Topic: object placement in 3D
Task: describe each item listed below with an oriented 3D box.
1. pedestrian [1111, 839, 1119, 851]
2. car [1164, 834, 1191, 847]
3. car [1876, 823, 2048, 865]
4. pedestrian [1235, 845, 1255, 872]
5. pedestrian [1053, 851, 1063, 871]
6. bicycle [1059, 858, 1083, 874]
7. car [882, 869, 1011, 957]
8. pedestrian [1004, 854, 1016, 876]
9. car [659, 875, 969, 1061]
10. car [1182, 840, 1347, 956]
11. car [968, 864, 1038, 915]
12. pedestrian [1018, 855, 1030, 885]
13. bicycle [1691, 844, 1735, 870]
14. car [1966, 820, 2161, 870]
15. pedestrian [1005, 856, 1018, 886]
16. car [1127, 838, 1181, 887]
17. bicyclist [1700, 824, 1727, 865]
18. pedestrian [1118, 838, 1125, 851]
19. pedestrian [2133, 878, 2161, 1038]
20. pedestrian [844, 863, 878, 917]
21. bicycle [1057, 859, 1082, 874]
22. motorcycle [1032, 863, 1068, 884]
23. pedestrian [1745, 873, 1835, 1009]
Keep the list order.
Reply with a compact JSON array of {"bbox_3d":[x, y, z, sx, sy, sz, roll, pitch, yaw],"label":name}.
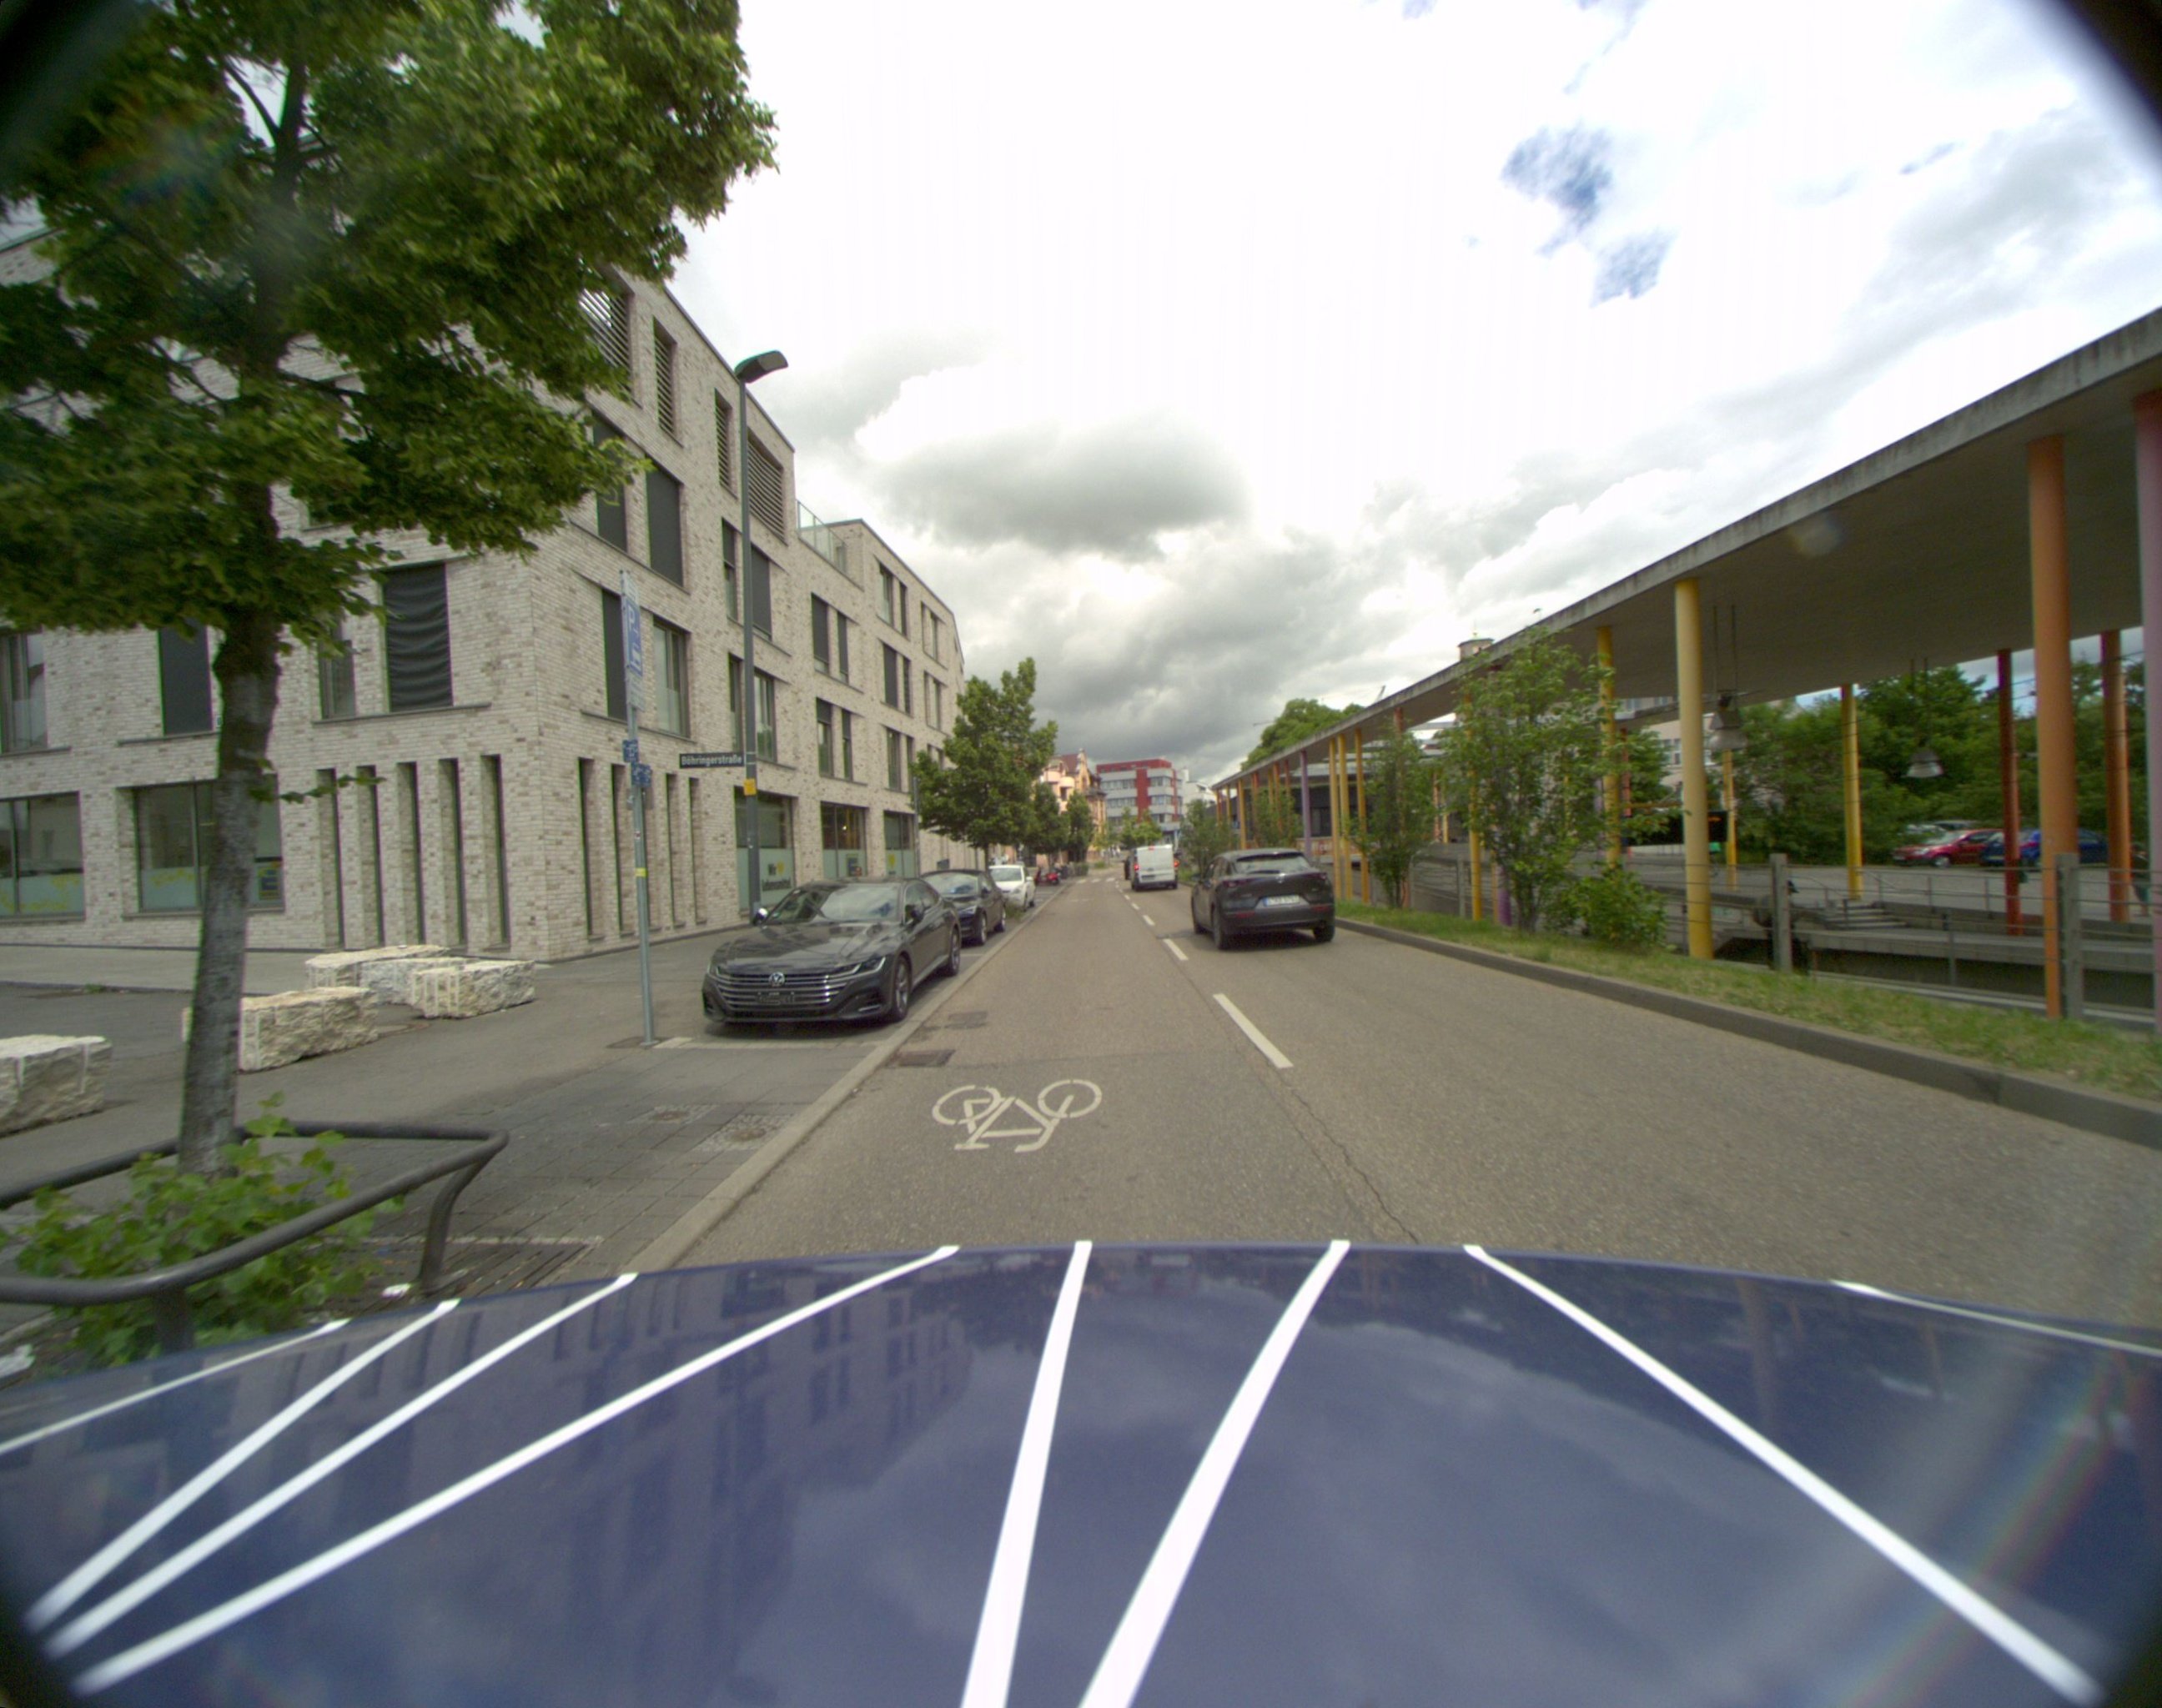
[{"bbox_3d":[4.670,-1.269,104.116,0.738,1.630,0.676,-2,3,40],"label":"pedestrian"},{"bbox_3d":[14.893,-2.057,117.327,4.006,1.653,1.839,-5,3,-37],"label":"car"},{"bbox_3d":[33.591,-0.384,29.097,3.992,1.330,1.727,-3,2,16],"label":"car"},{"bbox_3d":[9.850,0.275,45.607,0.929,1.556,0.815,-4,2,0],"label":"pedestrian"},{"bbox_3d":[-2.100,0.645,68.403,0.659,1.731,1.018,-2,1,7],"label":"pedestrian"},{"bbox_3d":[-0.800,0.956,61.125,1.826,1.194,0.756,-1,2,8],"label":"bicycle"},{"bbox_3d":[-2.576,1.092,15.561,1.696,1.452,4.147,-1,0,3],"label":"car"},{"bbox_3d":[-5.618,0.892,60.253,0.658,1.683,0.633,-1,2,42],"label":"pedestrian"},{"bbox_3d":[-2.660,1.057,8.918,1.869,1.442,4.643,-1,0,2],"label":"car"},{"bbox_3d":[2.901,0.620,12.971,1.729,1.512,4.254,-5,0,1],"label":"car"},{"bbox_3d":[-2.473,1.110,25.013,1.696,1.475,3.798,-1,0,3],"label":"car"},{"bbox_3d":[-3.380,0.949,45.122,0.623,1.756,0.737,-2,2,-2],"label":"pedestrian"},{"bbox_3d":[25.318,0.096,30.456,0.485,0.957,1.612,-4,2,4],"label":"bicycle"},{"bbox_3d":[33.671,-0.315,26.142,3.992,1.393,1.571,-3,2,16],"label":"car"},{"bbox_3d":[-4.177,1.008,45.714,0.757,1.756,0.734,-2,2,-4],"label":"pedestrian"},{"bbox_3d":[3.227,0.338,34.459,2.009,1.906,5.065,-4,0,2],"label":"car"},{"bbox_3d":[25.278,-0.372,30.388,0.485,1.584,0.681,-4,2,4],"label":"bicyclist"},{"bbox_3d":[5.514,-1.322,103.851,0.696,1.649,0.741,-3,3,26],"label":"pedestrian"},{"bbox_3d":[11.160,1.036,7.470,0.631,1.604,0.636,-4,0,2],"label":"pedestrian"},{"bbox_3d":[-6.175,1.001,21.352,0.608,1.464,0.791,-1,0,9],"label":"pedestrian"},{"bbox_3d":[-0.918,1.026,60.304,1.826,1.125,0.756,-1,2,8],"label":"bicycle"},{"bbox_3d":[-1.883,1.182,46.341,2.052,1.259,0.673,0,2,19],"label":"motorcycle"},{"bbox_3d":[10.107,1.221,10.855,0.588,1.820,0.710,-4,2,3],"label":"pedestrian"}]
